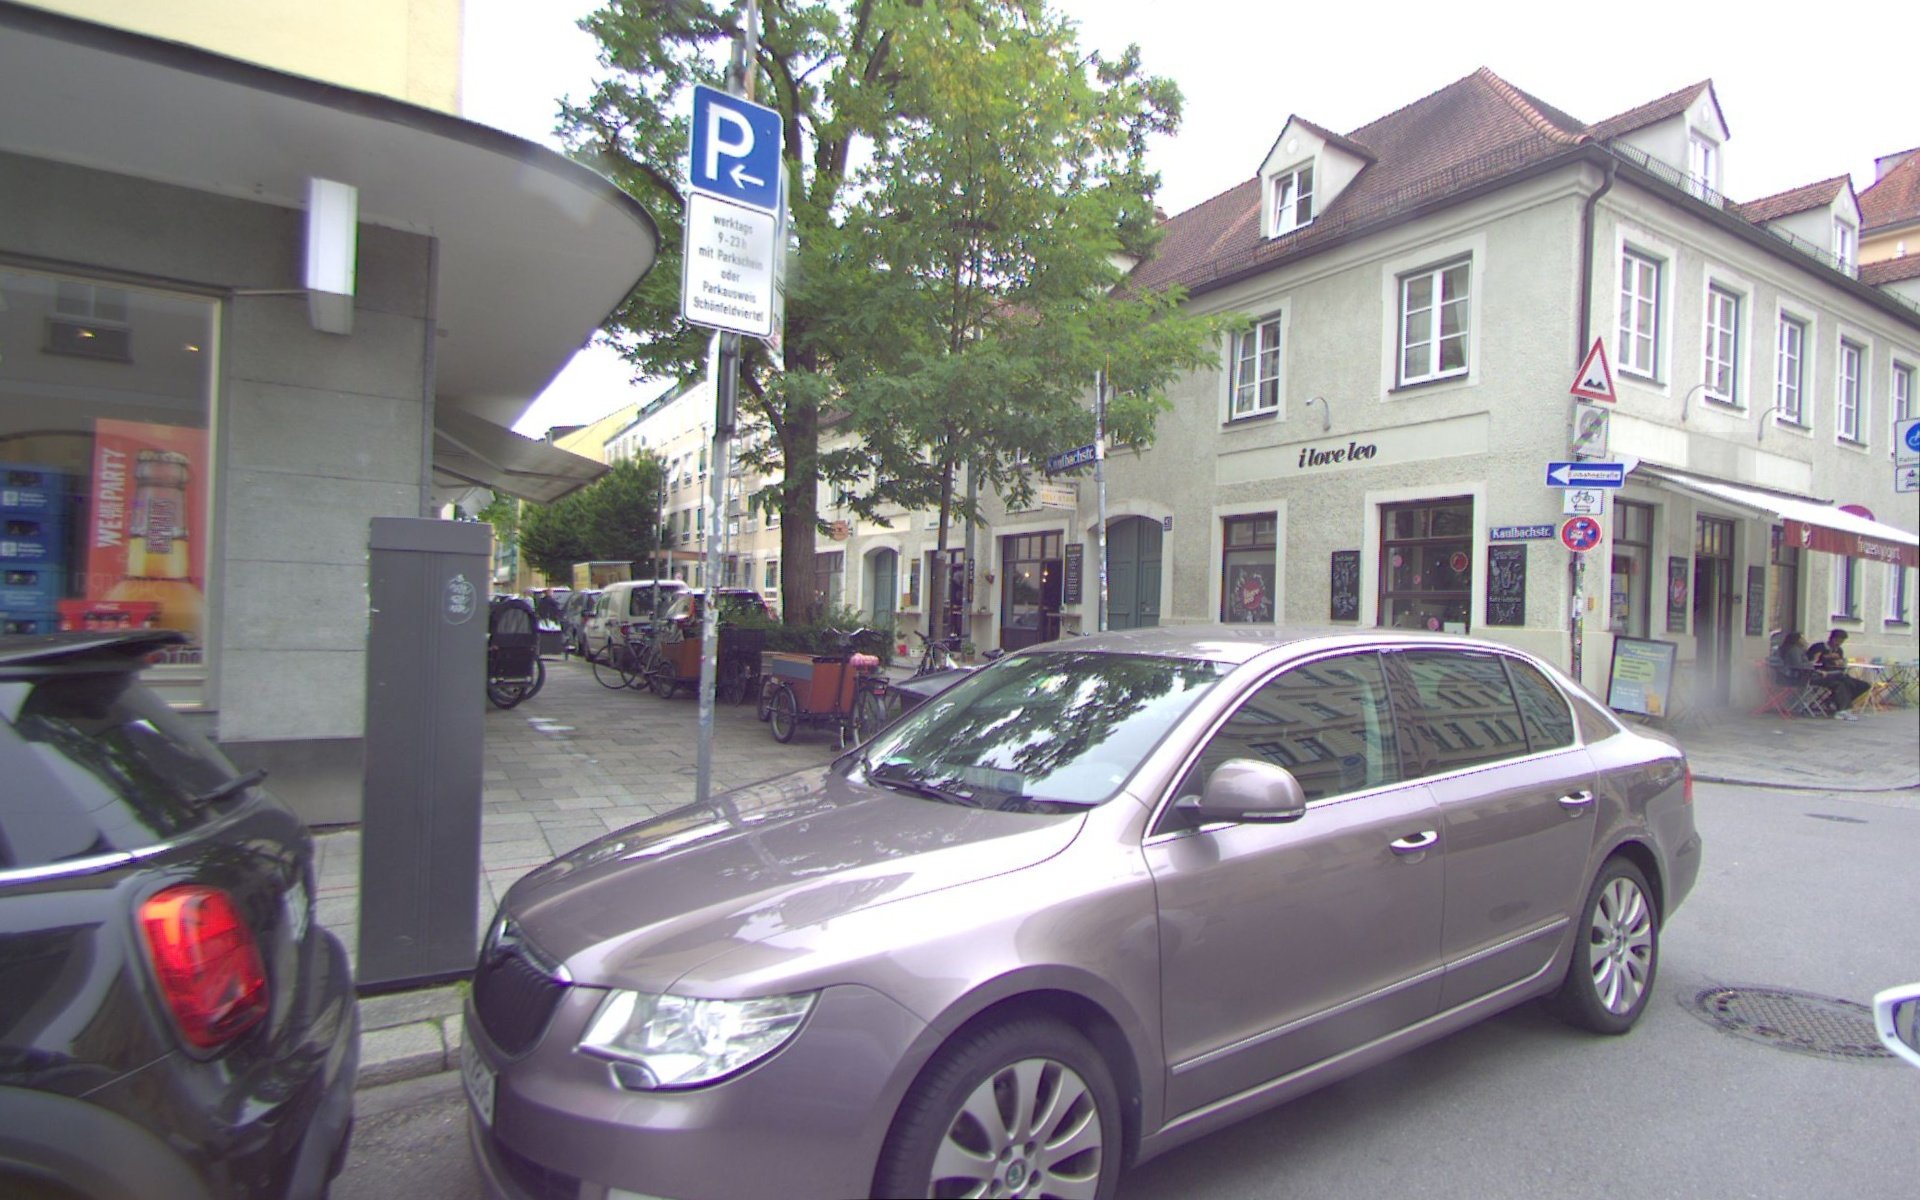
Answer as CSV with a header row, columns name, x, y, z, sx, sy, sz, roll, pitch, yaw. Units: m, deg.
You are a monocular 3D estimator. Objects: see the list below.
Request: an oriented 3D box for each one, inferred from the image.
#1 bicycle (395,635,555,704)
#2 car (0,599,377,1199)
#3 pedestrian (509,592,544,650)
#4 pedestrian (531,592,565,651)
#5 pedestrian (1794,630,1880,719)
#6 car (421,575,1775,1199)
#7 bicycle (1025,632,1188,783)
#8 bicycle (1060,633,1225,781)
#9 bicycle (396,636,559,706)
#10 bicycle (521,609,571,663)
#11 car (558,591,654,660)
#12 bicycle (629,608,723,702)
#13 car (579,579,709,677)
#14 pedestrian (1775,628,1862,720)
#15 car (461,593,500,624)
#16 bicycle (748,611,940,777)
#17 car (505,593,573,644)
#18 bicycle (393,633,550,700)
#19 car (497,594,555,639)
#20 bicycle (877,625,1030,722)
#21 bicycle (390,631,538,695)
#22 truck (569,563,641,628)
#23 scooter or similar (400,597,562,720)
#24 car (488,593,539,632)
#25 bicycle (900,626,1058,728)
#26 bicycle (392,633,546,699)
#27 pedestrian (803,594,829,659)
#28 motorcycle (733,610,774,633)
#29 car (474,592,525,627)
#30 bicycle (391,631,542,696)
name,x,y,z,sx,sy,sz,roll,pitch,yaw
bicycle,-5.866,0.845,12.211,1.704,0.790,0.290,3,-1,-33
car,-3.159,0.727,1.361,4.049,1.491,1.671,1,-2,-30
pedestrian,-12.255,0.592,28.425,0.563,1.602,0.682,2,-1,10
pedestrian,-11.612,0.603,28.308,0.563,1.618,0.682,2,-1,9
pedestrian,13.433,1.131,15.392,0.685,1.307,0.799,3,-1,-30
car,0.942,0.773,3.562,4.898,1.491,1.669,1,-2,-34
bicycle,1.203,0.861,8.666,0.387,1.049,1.811,0,2,-27
bicycle,1.552,0.880,8.858,0.387,1.049,1.811,0,2,-27
bicycle,-5.714,0.849,11.957,1.704,0.790,0.290,3,-1,-33
bicycle,-9.401,0.788,22.742,0.807,1.117,2.357,3,-1,-27
car,-9.420,0.612,26.518,1.753,1.617,4.137,-2,1,-28
bicycle,-4.117,0.768,14.435,0.807,1.227,2.357,3,-3,-27
car,-6.966,0.527,21.823,1.883,1.870,4.429,-2,1,-28
pedestrian,12.827,1.088,15.013,0.685,1.307,0.799,3,-1,-30
car,-27.059,0.469,56.673,1.753,1.617,4.137,-2,1,-28
bicycle,-1.200,0.789,9.502,0.807,1.227,2.831,3,0,-27
car,-14.769,0.593,35.129,1.753,1.617,4.137,-2,1,-28
bicycle,-6.031,0.831,12.466,1.704,0.790,0.290,3,-1,-33
car,-17.292,0.614,39.960,1.753,1.617,4.137,-2,1,-28
bicycle,-0.044,0.793,10.892,1.699,0.978,0.377,3,1,-35
bicycle,-6.506,0.836,13.228,1.704,0.790,0.290,3,-1,-33
truck,-19.374,-0.195,54.563,2.549,3.236,6.687,3,-1,-29
scooter or similar,-5.168,0.617,10.884,1.179,1.217,1.000,2,-1,19
car,-19.995,0.509,44.875,1.753,1.617,4.137,-2,1,-28
bicycle,0.225,0.795,10.480,1.699,0.978,0.377,3,1,-35
bicycle,-6.191,0.840,12.720,1.704,0.790,0.290,3,-1,-33
pedestrian,-4.084,0.745,28.529,0.525,1.810,0.487,3,-1,-33
motorcycle,-8.610,0.885,41.878,1.619,0.885,0.410,3,-1,-33
car,-22.780,0.430,49.615,1.971,1.617,4.137,-2,1,-28
bicycle,-6.351,0.831,12.978,1.704,0.790,0.290,3,-1,-33
